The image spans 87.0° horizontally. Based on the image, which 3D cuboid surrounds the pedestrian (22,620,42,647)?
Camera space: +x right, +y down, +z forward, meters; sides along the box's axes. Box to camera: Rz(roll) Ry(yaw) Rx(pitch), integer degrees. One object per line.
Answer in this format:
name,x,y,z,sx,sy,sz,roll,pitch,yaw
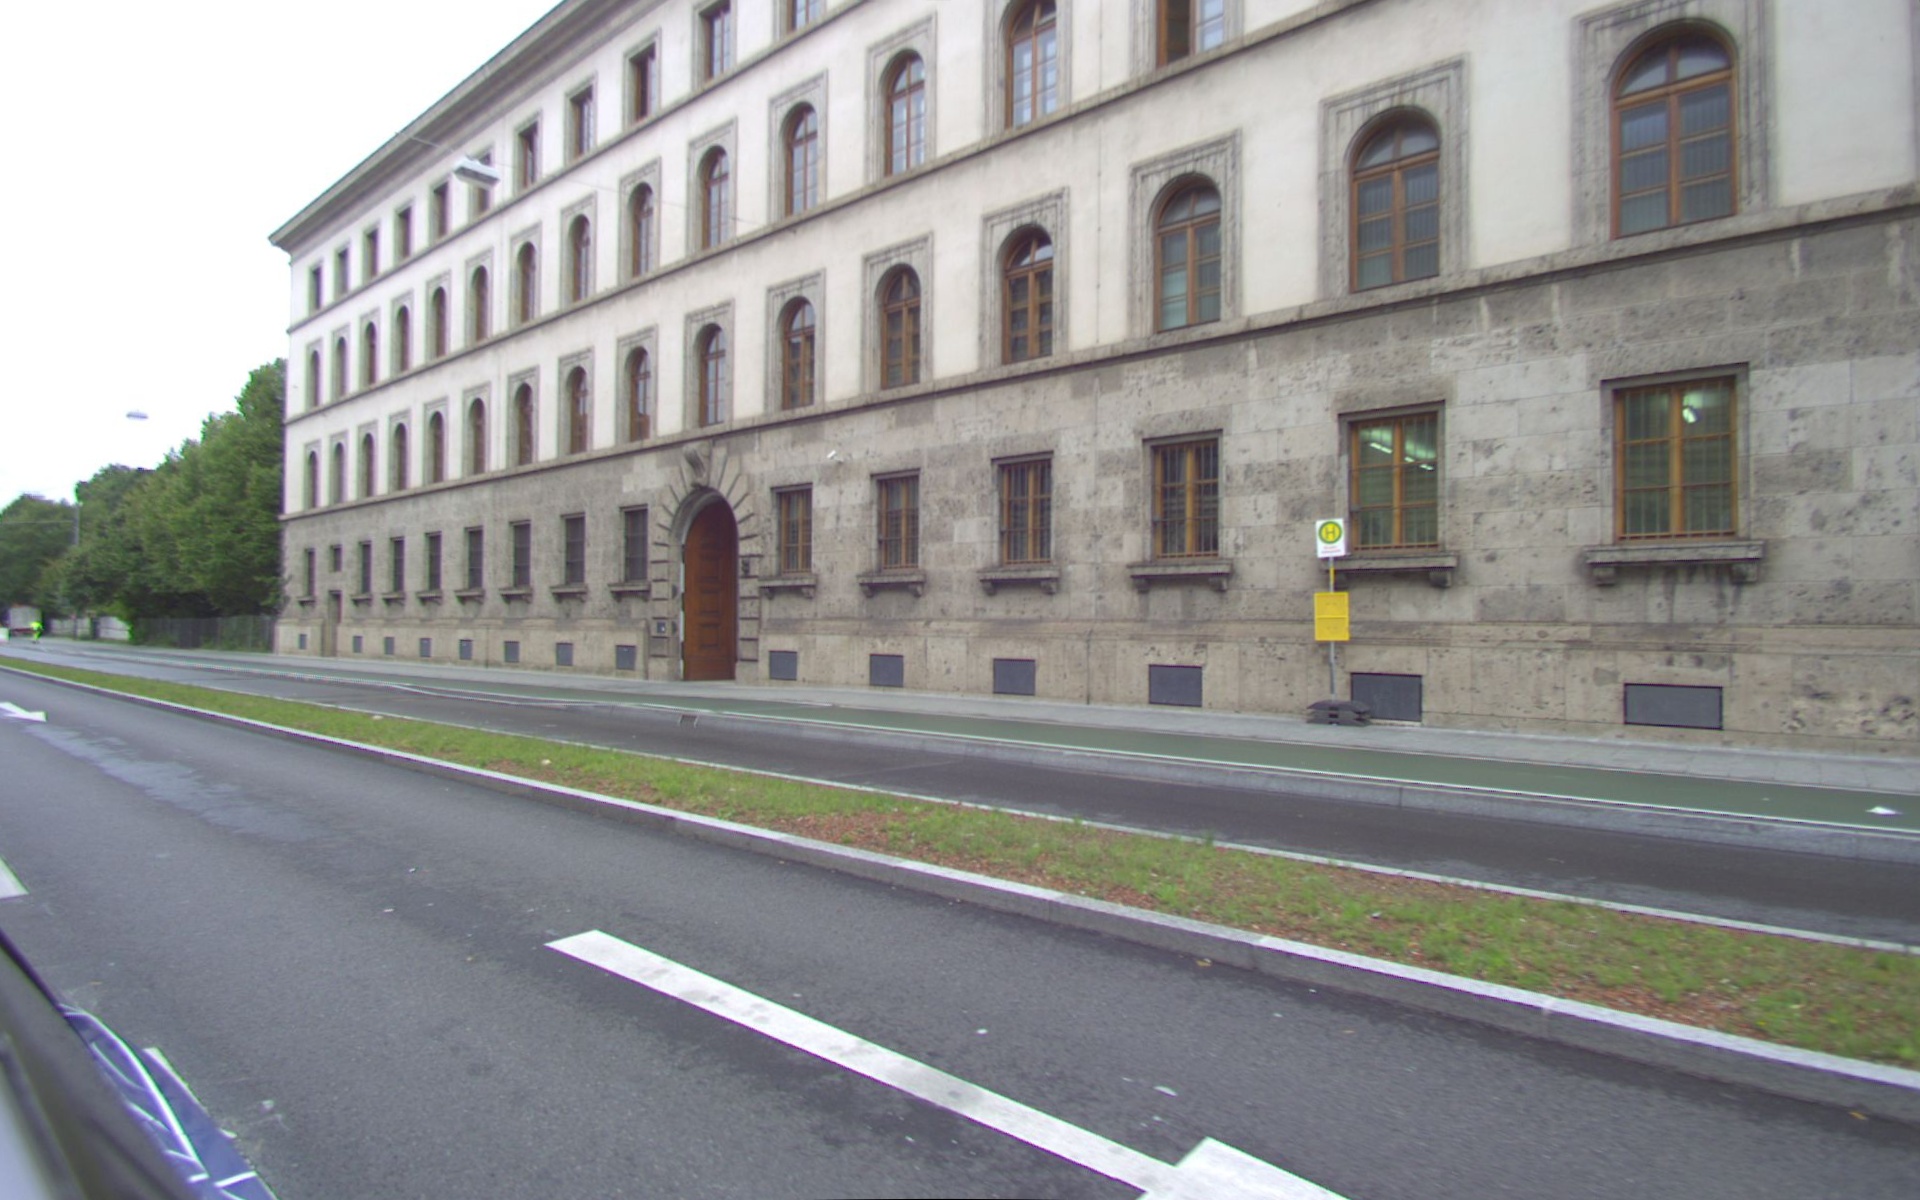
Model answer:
pedestrian,-71.098,2.591,77.541,0.749,2.029,0.865,-1,-1,9
